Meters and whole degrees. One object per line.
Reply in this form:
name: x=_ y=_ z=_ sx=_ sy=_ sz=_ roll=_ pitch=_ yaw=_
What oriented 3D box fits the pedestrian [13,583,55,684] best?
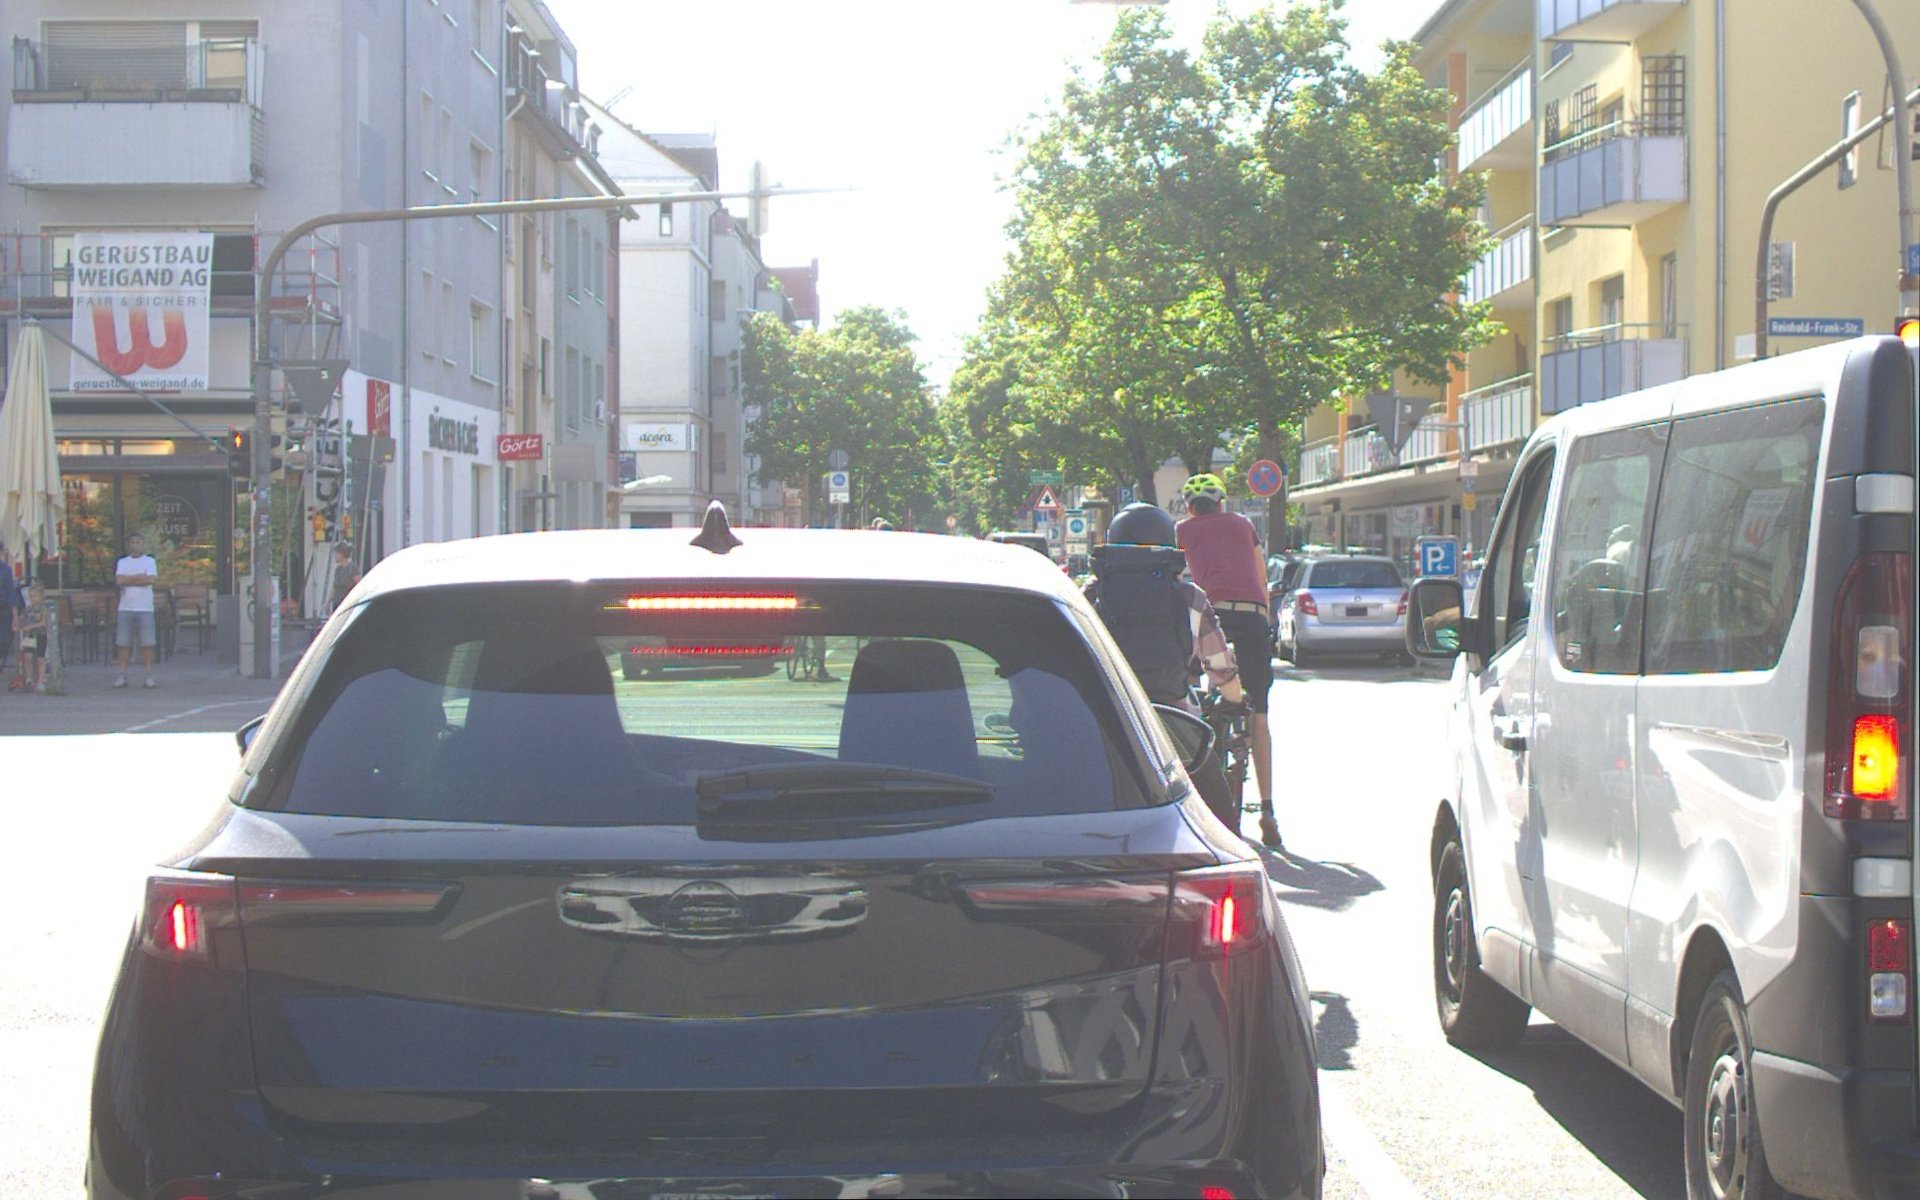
pedestrian: x=-10.099 y=0.361 z=37.507 sx=0.355 sy=1.088 sz=0.462 roll=0 pitch=1 yaw=-3

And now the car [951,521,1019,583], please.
car: x=0.706 y=-1.382 z=97.647 sx=1.902 sy=1.722 sz=4.000 roll=0 pitch=1 yaw=0

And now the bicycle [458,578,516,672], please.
bicycle: x=-6.035 y=0.308 z=43.976 sx=0.521 sy=1.143 sz=2.284 roll=0 pitch=1 yaw=-2

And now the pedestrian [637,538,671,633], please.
pedestrian: x=-5.443 y=-0.263 z=61.184 sx=0.570 sy=1.684 sz=0.588 roll=0 pitch=1 yaw=-1

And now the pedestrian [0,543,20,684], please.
pedestrian: x=-10.611 y=0.142 z=37.455 sx=0.584 sy=1.516 sz=0.650 roll=0 pitch=1 yaw=-3

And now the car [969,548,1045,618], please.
car: x=1.186 y=-0.460 z=88.410 sx=1.902 sy=1.722 sz=4.073 roll=0 pitch=1 yaw=0

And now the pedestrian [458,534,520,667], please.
pedestrian: x=-5.974 y=-0.002 z=43.644 sx=0.706 sy=1.672 sz=0.802 roll=0 pitch=1 yaw=-2

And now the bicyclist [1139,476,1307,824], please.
bicyclist: x=1.327 y=0.234 z=17.575 sx=0.689 sy=1.707 sz=1.414 roll=0 pitch=1 yaw=-2

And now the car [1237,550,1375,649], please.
car: x=5.185 y=-0.036 z=51.927 sx=1.634 sy=1.428 sz=4.000 roll=0 pitch=1 yaw=-1

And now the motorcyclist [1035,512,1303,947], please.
motorcyclist: x=0.733 y=0.436 z=12.413 sx=0.864 sy=1.497 sz=1.160 roll=0 pitch=1 yaw=-2

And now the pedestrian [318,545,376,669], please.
pedestrian: x=-7.536 y=0.082 z=42.298 sx=0.617 sy=1.516 sz=0.725 roll=0 pitch=1 yaw=-3

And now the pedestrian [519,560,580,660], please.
pedestrian: x=-5.199 y=0.116 z=43.555 sx=0.706 sy=1.249 sz=0.802 roll=0 pitch=1 yaw=-2

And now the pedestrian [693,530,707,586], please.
pedestrian: x=-7.782 y=-1.271 z=102.907 sx=0.402 sy=1.669 sz=0.418 roll=0 pitch=1 yaw=-1

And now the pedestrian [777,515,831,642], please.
pedestrian: x=-1.989 y=-0.281 z=43.781 sx=0.680 sy=1.600 sz=0.762 roll=0 pitch=1 yaw=-2

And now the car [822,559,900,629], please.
car: x=-2.504 y=-0.163 z=87.807 sx=1.825 sy=1.722 sz=4.000 roll=0 pitch=1 yaw=1

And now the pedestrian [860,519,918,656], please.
pedestrian: x=-0.890 y=-0.164 z=43.057 sx=0.706 sy=1.695 sz=0.802 roll=0 pitch=1 yaw=-2

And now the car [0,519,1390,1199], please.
car: x=-0.427 y=0.628 z=6.326 sx=1.770 sy=1.525 sz=4.001 roll=0 pitch=1 yaw=-2

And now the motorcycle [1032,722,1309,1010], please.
motorcycle: x=0.707 y=0.902 z=12.154 sx=0.825 sy=0.842 sz=1.885 roll=0 pitch=1 yaw=-1

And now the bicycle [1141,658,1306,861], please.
bicycle: x=1.333 y=0.788 z=17.733 sx=0.577 sy=0.901 sz=2.301 roll=0 pitch=1 yaw=-2

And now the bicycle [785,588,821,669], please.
bicycle: x=-2.006 y=0.349 z=44.028 sx=0.443 sy=0.989 sz=2.069 roll=0 pitch=1 yaw=-2

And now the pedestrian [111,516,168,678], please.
pedestrian: x=-9.084 y=-0.038 z=38.057 sx=0.561 sy=1.769 sz=0.584 roll=0 pitch=1 yaw=-9

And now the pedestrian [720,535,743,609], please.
pedestrian: x=-5.262 y=-0.650 z=79.051 sx=0.488 sy=1.684 sz=0.588 roll=0 pitch=1 yaw=-1

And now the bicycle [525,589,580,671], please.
bicycle: x=-5.199 y=0.371 z=43.958 sx=0.521 sy=0.989 sz=2.340 roll=0 pitch=1 yaw=-2

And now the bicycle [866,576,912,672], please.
bicycle: x=-0.893 y=0.288 z=42.968 sx=0.521 sy=1.143 sz=2.170 roll=0 pitch=1 yaw=-2

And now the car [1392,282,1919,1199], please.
car: x=2.446 y=0.421 z=8.534 sx=1.993 sy=1.972 sz=4.895 roll=2 pitch=1 yaw=-1

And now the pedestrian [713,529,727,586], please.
pedestrian: x=-7.161 y=-1.269 z=102.574 sx=0.402 sy=1.669 sz=0.418 roll=0 pitch=1 yaw=-1

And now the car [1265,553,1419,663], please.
car: x=5.203 y=0.079 z=47.263 sx=1.634 sy=1.428 sz=3.957 roll=0 pitch=1 yaw=-1
